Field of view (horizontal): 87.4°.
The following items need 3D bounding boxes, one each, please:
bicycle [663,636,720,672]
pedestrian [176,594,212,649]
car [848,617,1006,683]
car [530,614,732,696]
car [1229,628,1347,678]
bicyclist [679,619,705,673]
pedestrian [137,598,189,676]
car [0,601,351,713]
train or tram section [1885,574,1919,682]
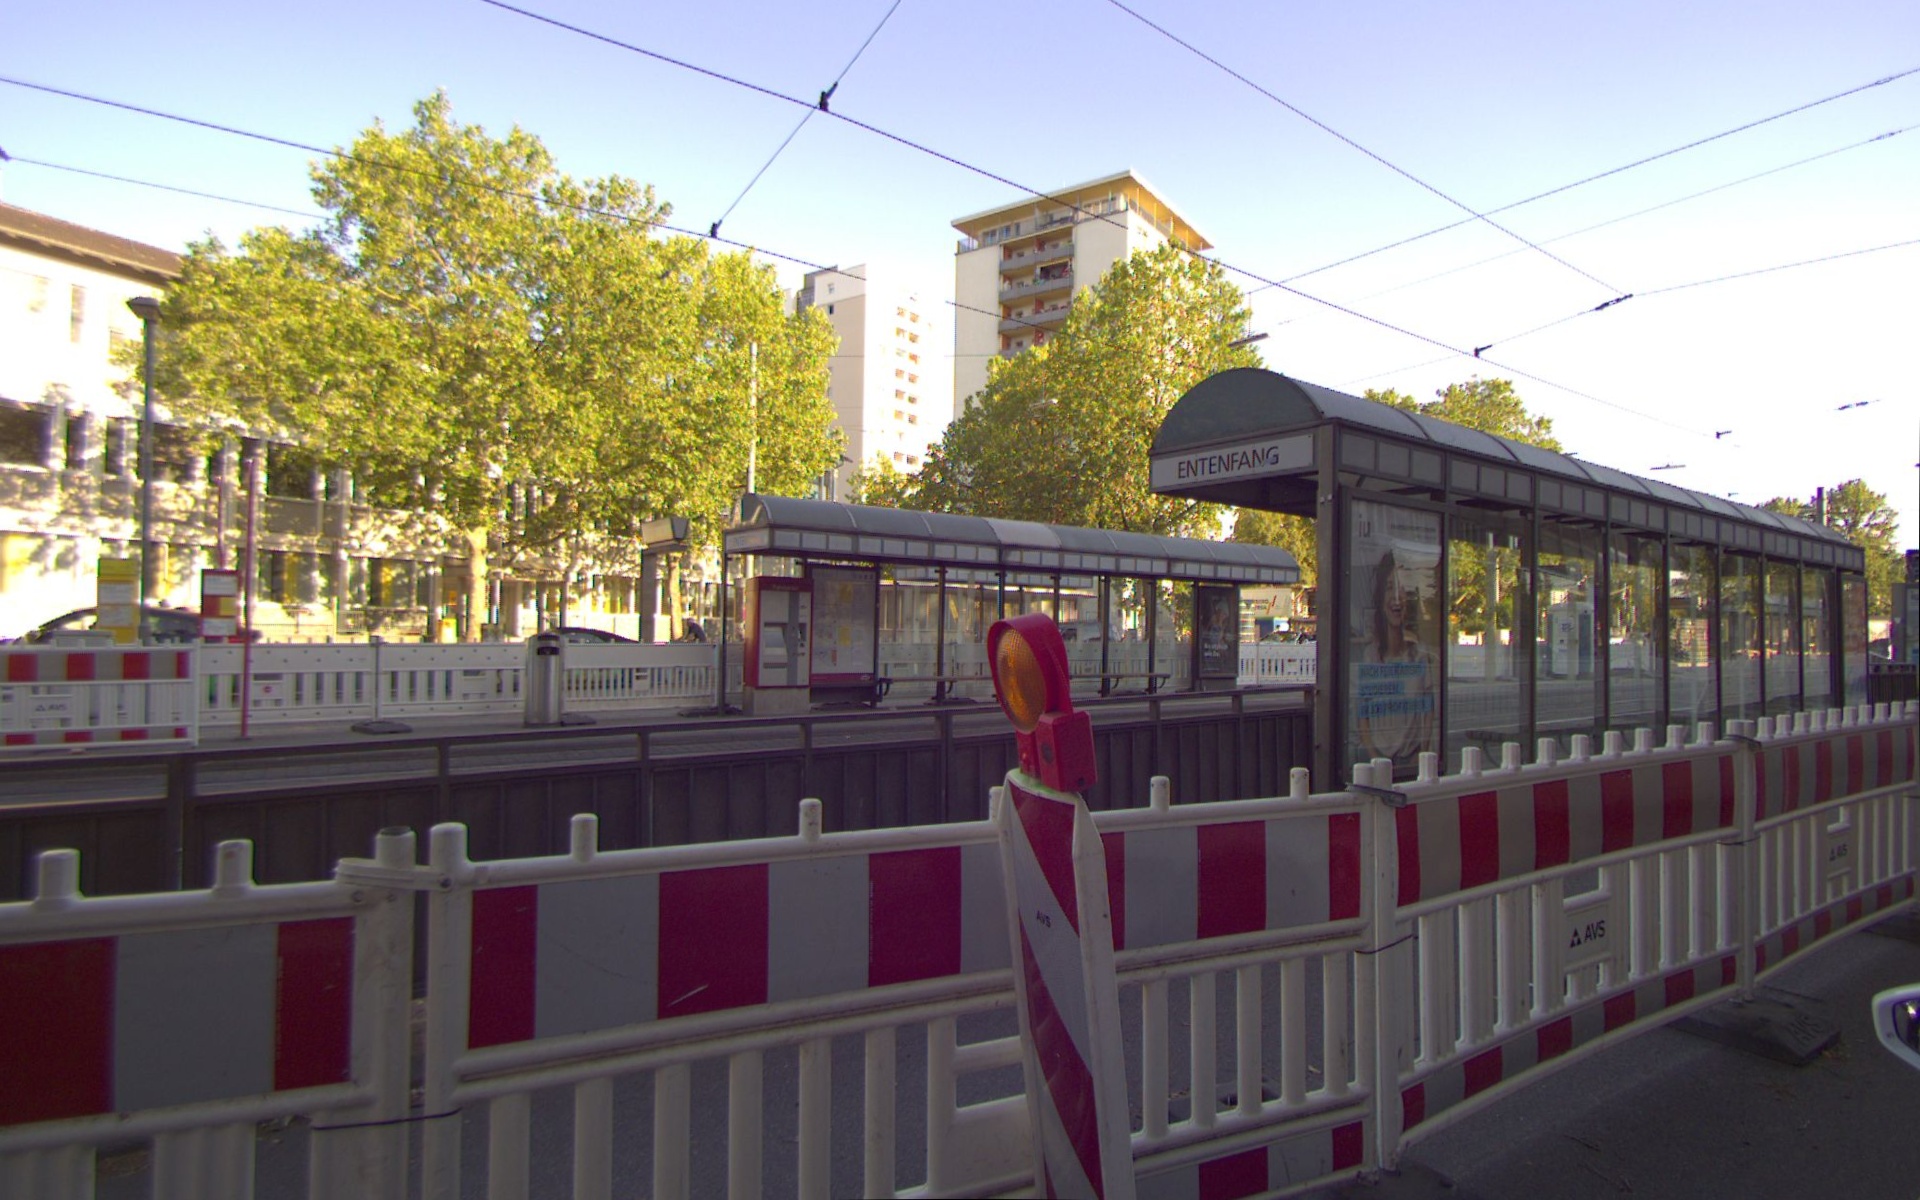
[{"bbox_3d":[-8.211,1.655,30.722,1.603,1.079,0.546,2,-2,-31],"label":"bicycle"},{"bbox_3d":[-21.052,0.595,27.613,0.576,1.474,0.584,0,-2,32],"label":"pedestrian"},{"bbox_3d":[-0.882,1.348,27.661,3.959,1.683,1.901,2,-2,-34],"label":"car"},{"bbox_3d":[-7.393,1.205,22.644,3.958,1.683,1.982,2,-2,-33],"label":"car"},{"bbox_3d":[11.673,1.857,35.653,3.958,1.683,1.982,2,-2,-33],"label":"car"},{"bbox_3d":[-8.196,1.390,30.729,0.636,1.635,0.547,1,-1,-30],"label":"bicyclist"},{"bbox_3d":[-19.486,0.893,24.565,0.921,1.858,0.691,2,-2,-43],"label":"pedestrian"},{"bbox_3d":[-13.164,0.942,17.279,4.511,1.683,1.982,2,-2,-34],"label":"car"},{"bbox_3d":[36.811,1.096,36.263,11.656,3.580,2.668,2,0,-36],"label":"train or tram section"}]
